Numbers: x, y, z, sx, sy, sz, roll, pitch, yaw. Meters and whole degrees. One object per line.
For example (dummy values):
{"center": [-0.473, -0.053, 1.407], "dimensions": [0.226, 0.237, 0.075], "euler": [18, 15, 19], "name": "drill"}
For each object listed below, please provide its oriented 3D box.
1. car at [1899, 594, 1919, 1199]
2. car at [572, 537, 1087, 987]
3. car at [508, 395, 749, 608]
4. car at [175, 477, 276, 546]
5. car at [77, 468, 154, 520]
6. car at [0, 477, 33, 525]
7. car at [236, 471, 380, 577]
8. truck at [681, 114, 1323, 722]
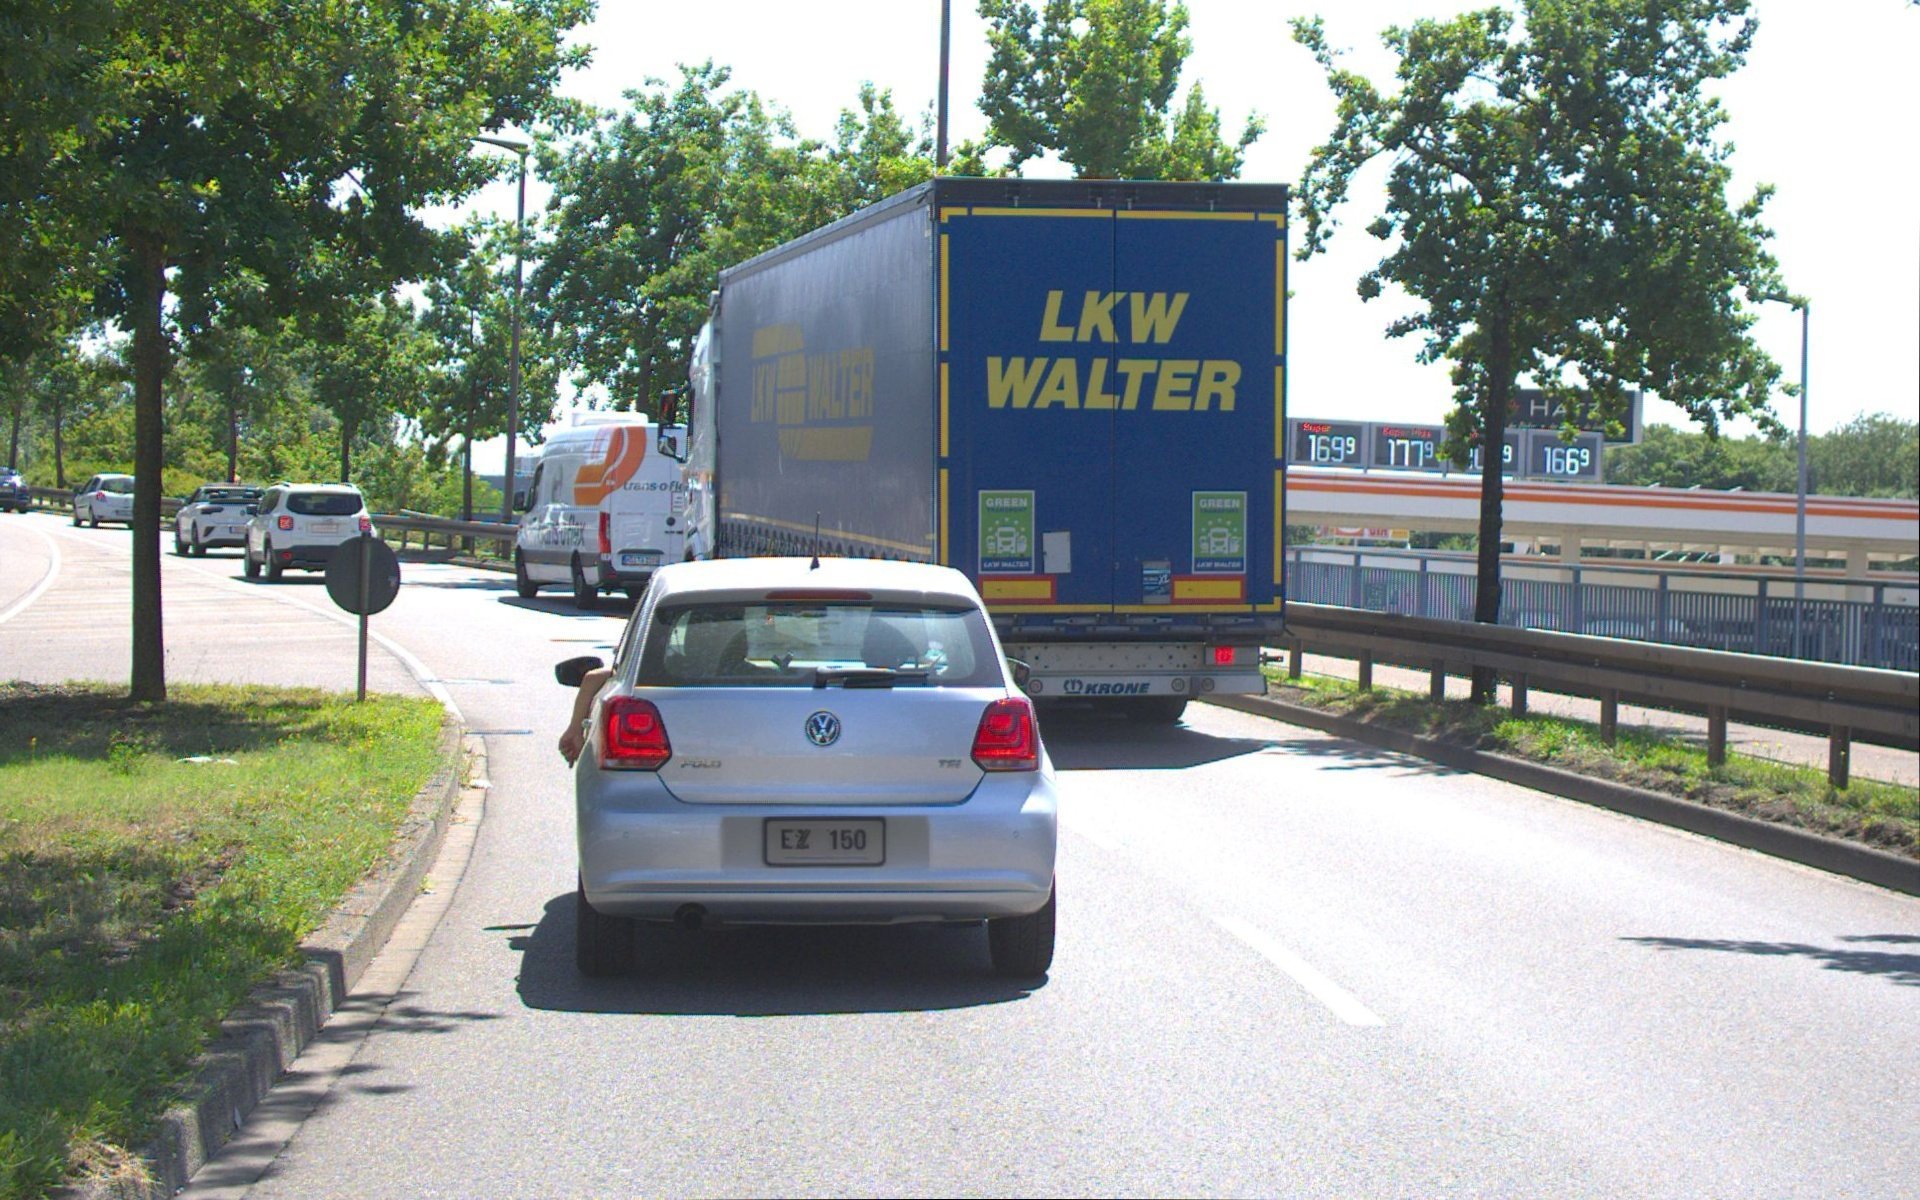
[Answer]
{"center": [2.861, 0.741, 5.095], "dimensions": [1.604, 1.451, 4.235], "euler": [2, 0, -2], "name": "car"}
{"center": [-0.618, 0.526, 12.986], "dimensions": [1.646, 1.434, 3.537], "euler": [2, 0, -7], "name": "car"}
{"center": [-4.992, -1.481, 50.742], "dimensions": [2.175, 2.890, 6.360], "euler": [1, 2, -18], "name": "car"}
{"center": [-15.393, -1.848, 71.961], "dimensions": [1.494, 1.355, 3.664], "euler": [1, 1, -21], "name": "car"}
{"center": [-23.077, -2.884, 93.843], "dimensions": [1.607, 1.355, 3.664], "euler": [1, 1, -20], "name": "car"}
{"center": [-31.019, -3.220, 111.615], "dimensions": [1.664, 1.460, 3.582], "euler": [1, 0, -16], "name": "car"}
{"center": [-11.271, -1.283, 59.230], "dimensions": [1.903, 1.712, 4.225], "euler": [1, 0, -18], "name": "car"}
{"center": [-0.344, -1.420, 32.319], "dimensions": [2.832, 4.184, 16.479], "euler": [1, 1, -10], "name": "truck"}
